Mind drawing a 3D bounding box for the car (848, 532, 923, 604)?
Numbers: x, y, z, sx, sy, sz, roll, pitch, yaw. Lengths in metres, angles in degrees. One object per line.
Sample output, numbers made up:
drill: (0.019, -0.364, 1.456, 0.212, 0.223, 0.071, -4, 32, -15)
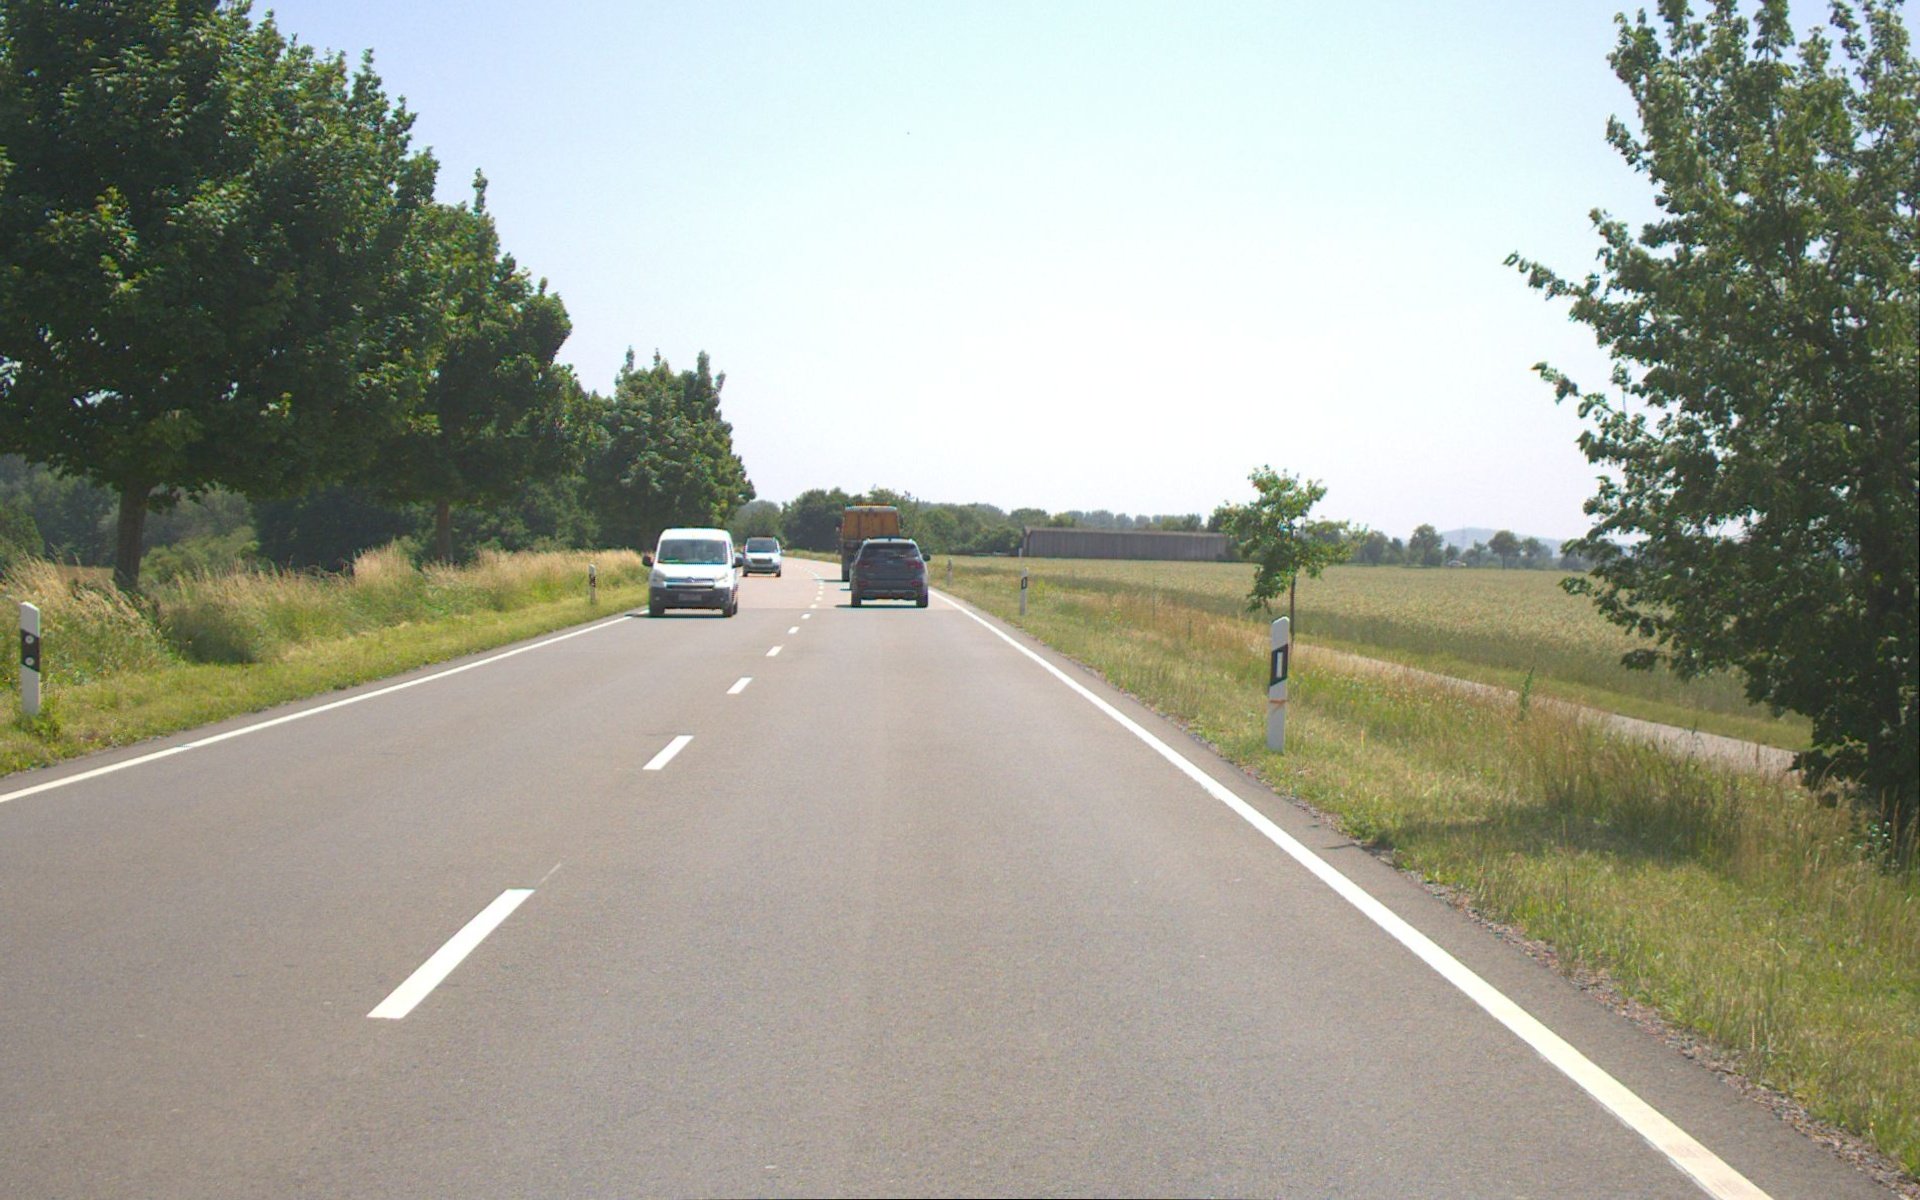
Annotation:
car: (-1.804, -0.792, 84.795, 1.714, 1.688, 3.989, 1, 1, 0)

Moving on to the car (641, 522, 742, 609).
car: (-5.572, -0.721, 71.814, 1.787, 1.722, 4.304, 1, 1, -1)

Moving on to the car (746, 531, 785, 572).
car: (-8.930, -2.232, 157.725, 1.725, 1.834, 4.000, 1, 1, -3)

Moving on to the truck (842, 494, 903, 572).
truck: (-3.709, -2.772, 144.598, 2.370, 3.129, 8.748, 1, 1, -3)
